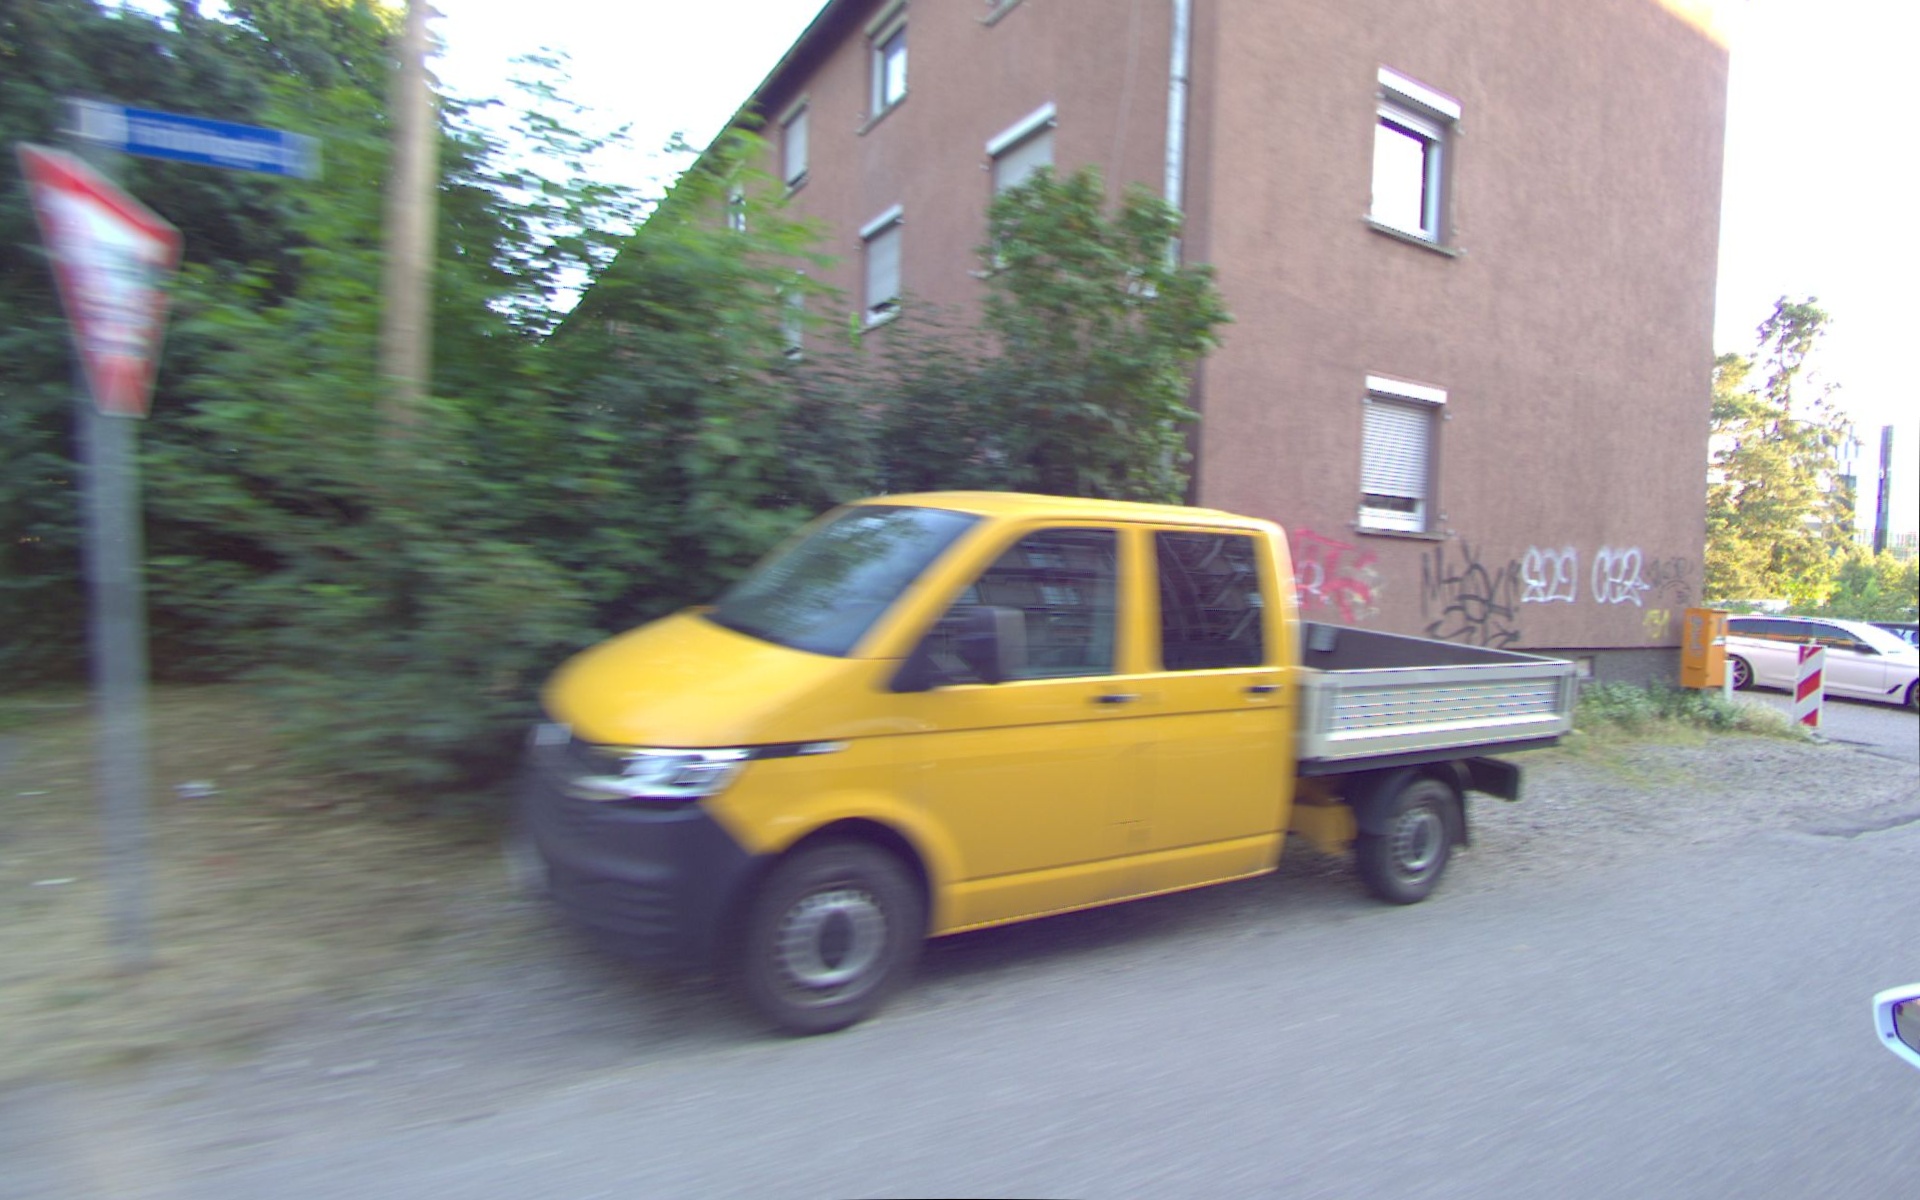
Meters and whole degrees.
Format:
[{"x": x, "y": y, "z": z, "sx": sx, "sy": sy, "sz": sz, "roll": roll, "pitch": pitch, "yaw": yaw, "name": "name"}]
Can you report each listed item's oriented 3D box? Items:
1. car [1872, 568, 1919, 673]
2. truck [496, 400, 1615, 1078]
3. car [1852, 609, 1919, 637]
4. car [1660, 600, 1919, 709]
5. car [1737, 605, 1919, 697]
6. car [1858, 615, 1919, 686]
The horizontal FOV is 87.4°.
[{"x": 26.417, "y": 0.652, "z": 24.503, "sx": 2.194, "sy": 2.661, "sz": 5.664, "roll": 2, "pitch": 2, "yaw": -28, "name": "car"}, {"x": 0.802, "y": 0.436, "z": 5.185, "sx": 5.597, "sy": 1.939, "sz": 2.023, "roll": 2, "pitch": 2, "yaw": -31, "name": "truck"}, {"x": 73.353, "y": 1.813, "z": 79.297, "sx": 4.982, "sy": 2.040, "sz": 2.304, "roll": 2, "pitch": 1, "yaw": -21, "name": "car"}, {"x": 16.143, "y": 0.964, "z": 18.399, "sx": 2.090, "sy": 1.565, "sz": 4.972, "roll": 2, "pitch": 3, "yaw": -28, "name": "car"}, {"x": 18.171, "y": 1.007, "z": 19.596, "sx": 1.709, "sy": 1.565, "sz": 4.389, "roll": 1, "pitch": 2, "yaw": -33, "name": "car"}, {"x": 21.612, "y": 1.168, "z": 21.041, "sx": 1.709, "sy": 1.449, "sz": 3.814, "roll": 1, "pitch": 2, "yaw": -32, "name": "car"}]
